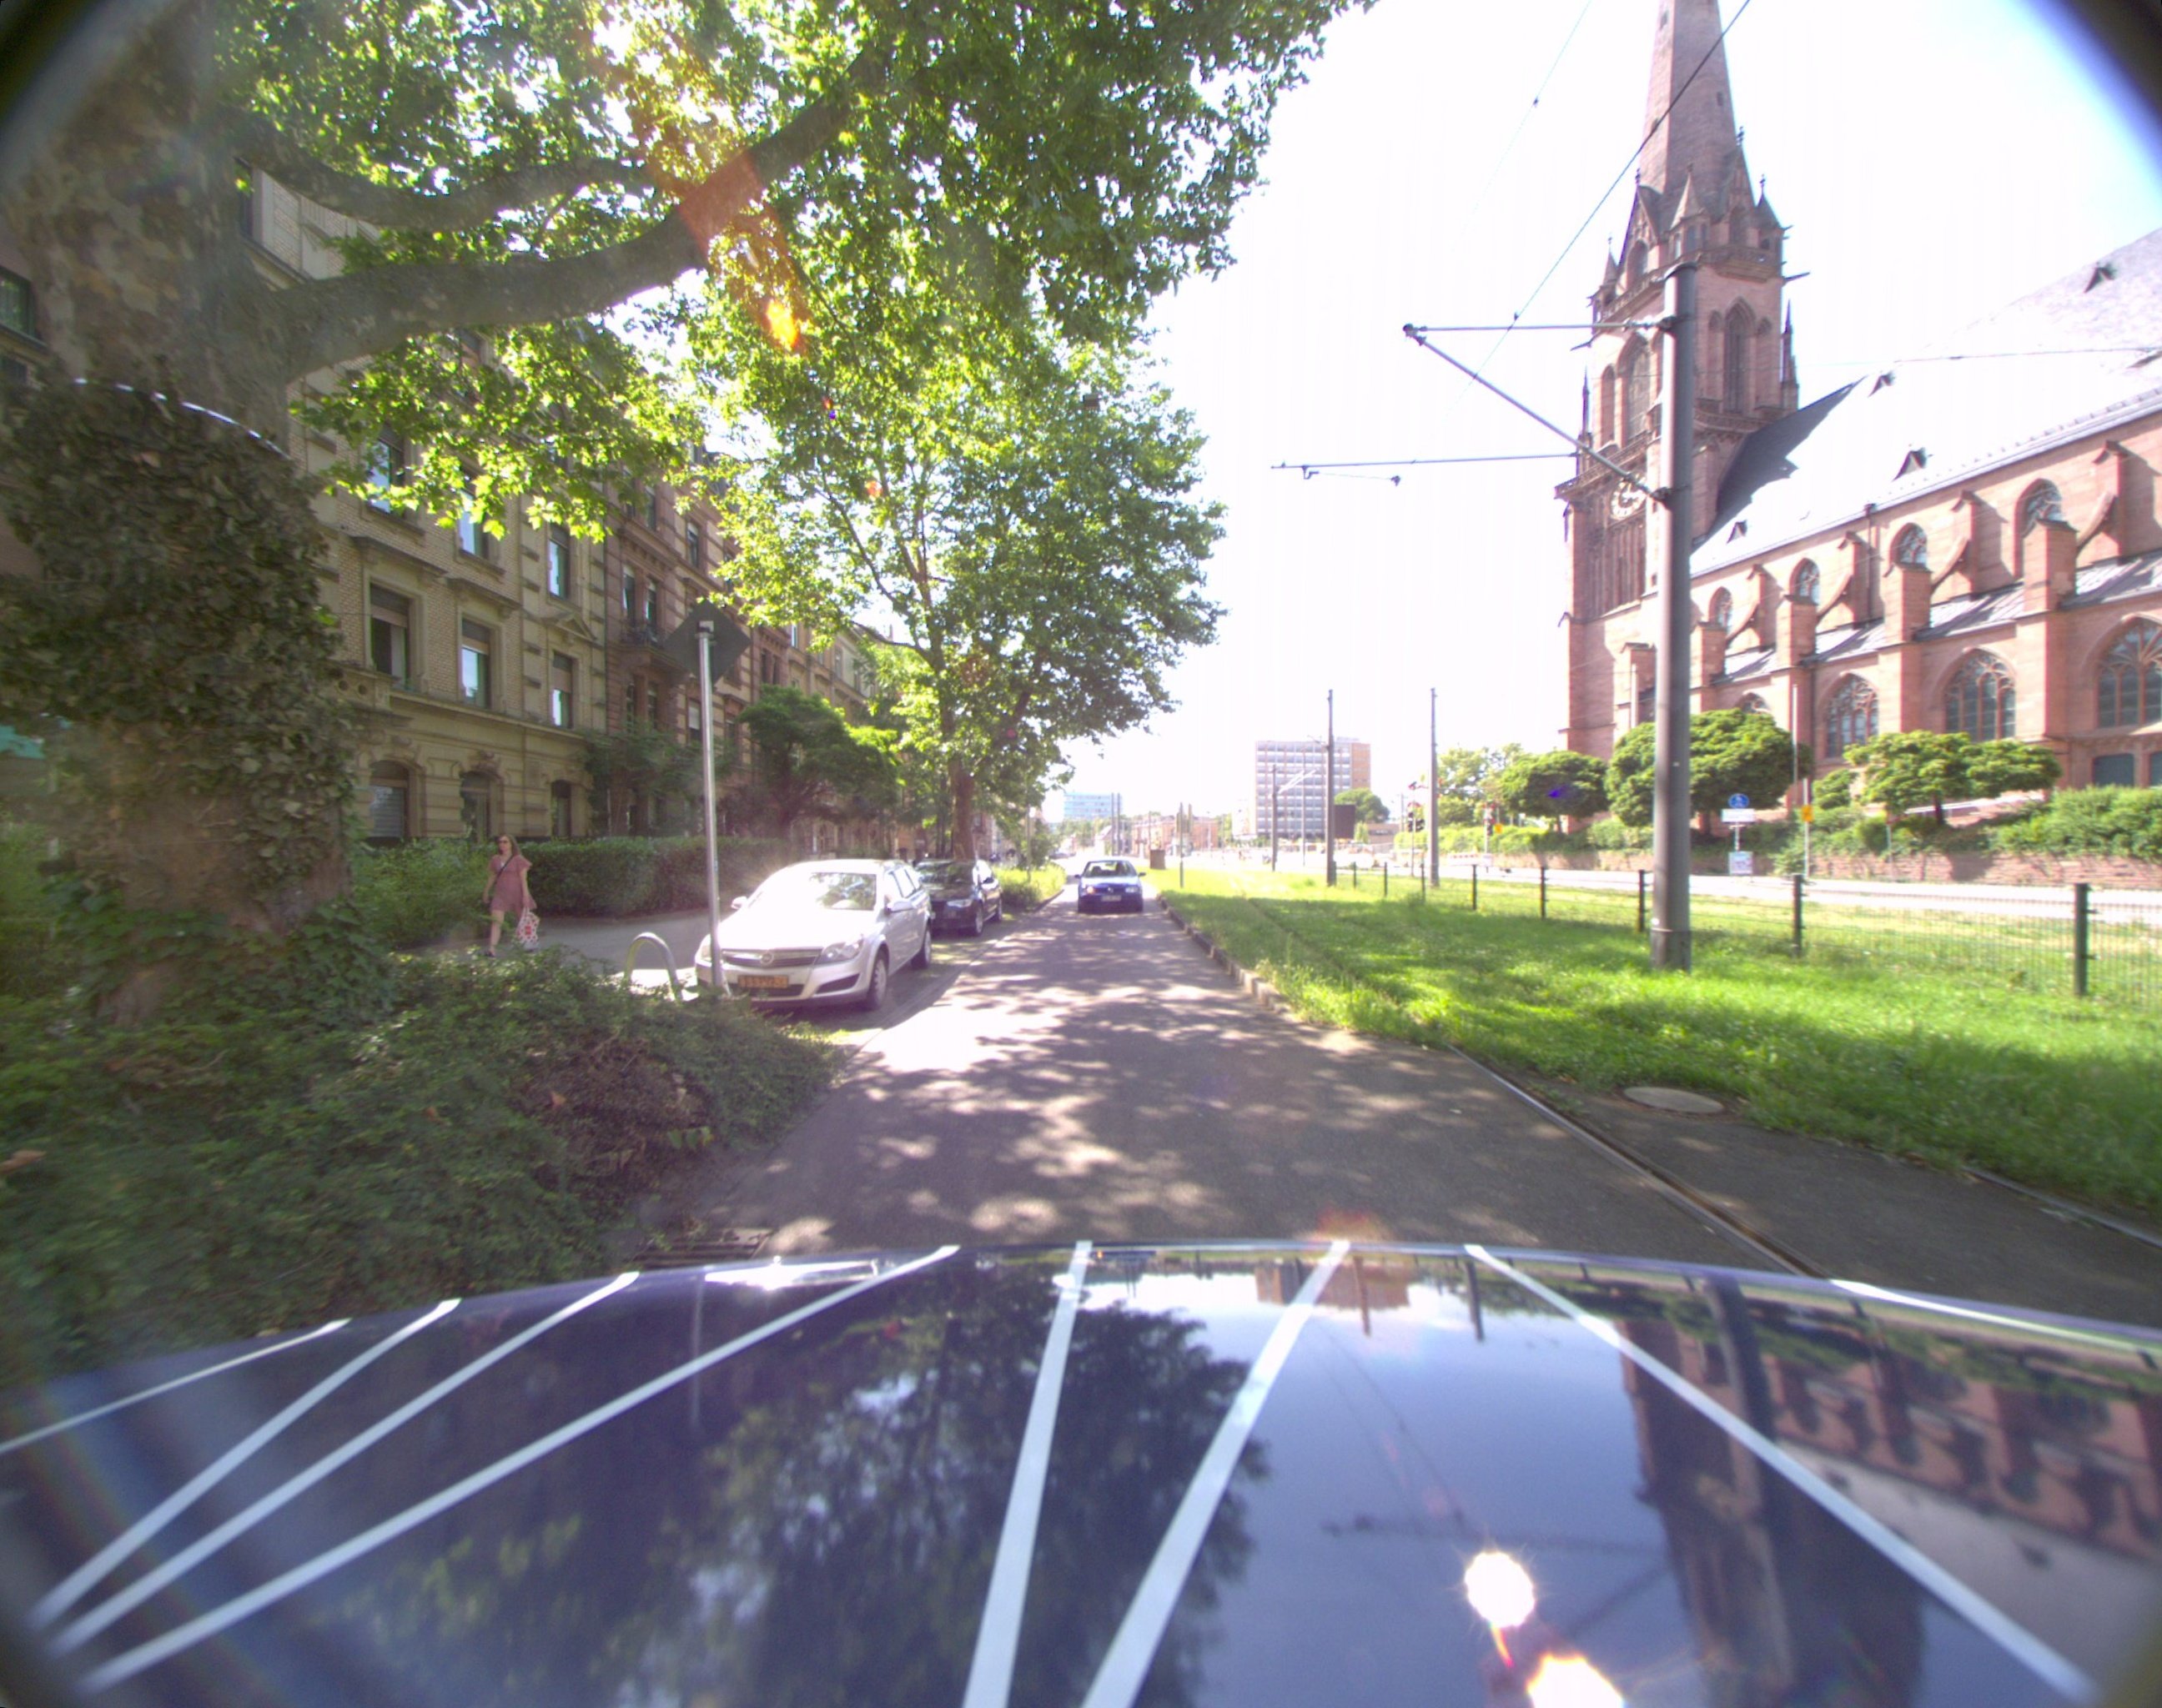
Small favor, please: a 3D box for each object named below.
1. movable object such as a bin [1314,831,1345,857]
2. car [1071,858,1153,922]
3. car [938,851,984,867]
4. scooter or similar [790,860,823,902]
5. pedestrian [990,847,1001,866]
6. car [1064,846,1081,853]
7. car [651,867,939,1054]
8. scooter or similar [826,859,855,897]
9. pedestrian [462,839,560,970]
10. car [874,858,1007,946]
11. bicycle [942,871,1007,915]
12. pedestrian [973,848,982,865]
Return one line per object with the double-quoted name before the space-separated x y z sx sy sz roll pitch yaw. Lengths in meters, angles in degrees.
"movable object such as a bin" 37.484 -1.551 114.732 3.340 3.859 2.931 -1 1 -33
"car" 0.792 0.872 20.141 1.886 1.401 4.093 -2 1 2
"car" -11.078 0.451 70.340 4.093 1.508 1.886 0 1 -8
"scooter or similar" -8.543 0.833 23.712 0.583 1.240 1.145 0 1 1
"pedestrian" -7.921 0.197 70.234 0.796 1.708 0.968 -1 1 7
"car" -2.096 -1.127 190.511 3.959 1.662 1.827 -1 1 -22
"car" -2.913 0.967 8.893 1.838 1.499 4.490 0 1 -3
"scooter or similar" -8.348 0.821 26.434 0.583 1.275 1.145 0 1 3
"pedestrian" -8.078 0.690 10.798 0.738 1.775 0.852 1 1 0
"car" -2.750 0.881 15.985 1.838 1.499 4.643 0 1 1
"bicycle" -2.789 1.001 20.037 1.641 1.082 0.470 -1 1 -33
"pedestrian" -10.749 0.264 79.190 0.797 1.708 0.967 -1 1 0
